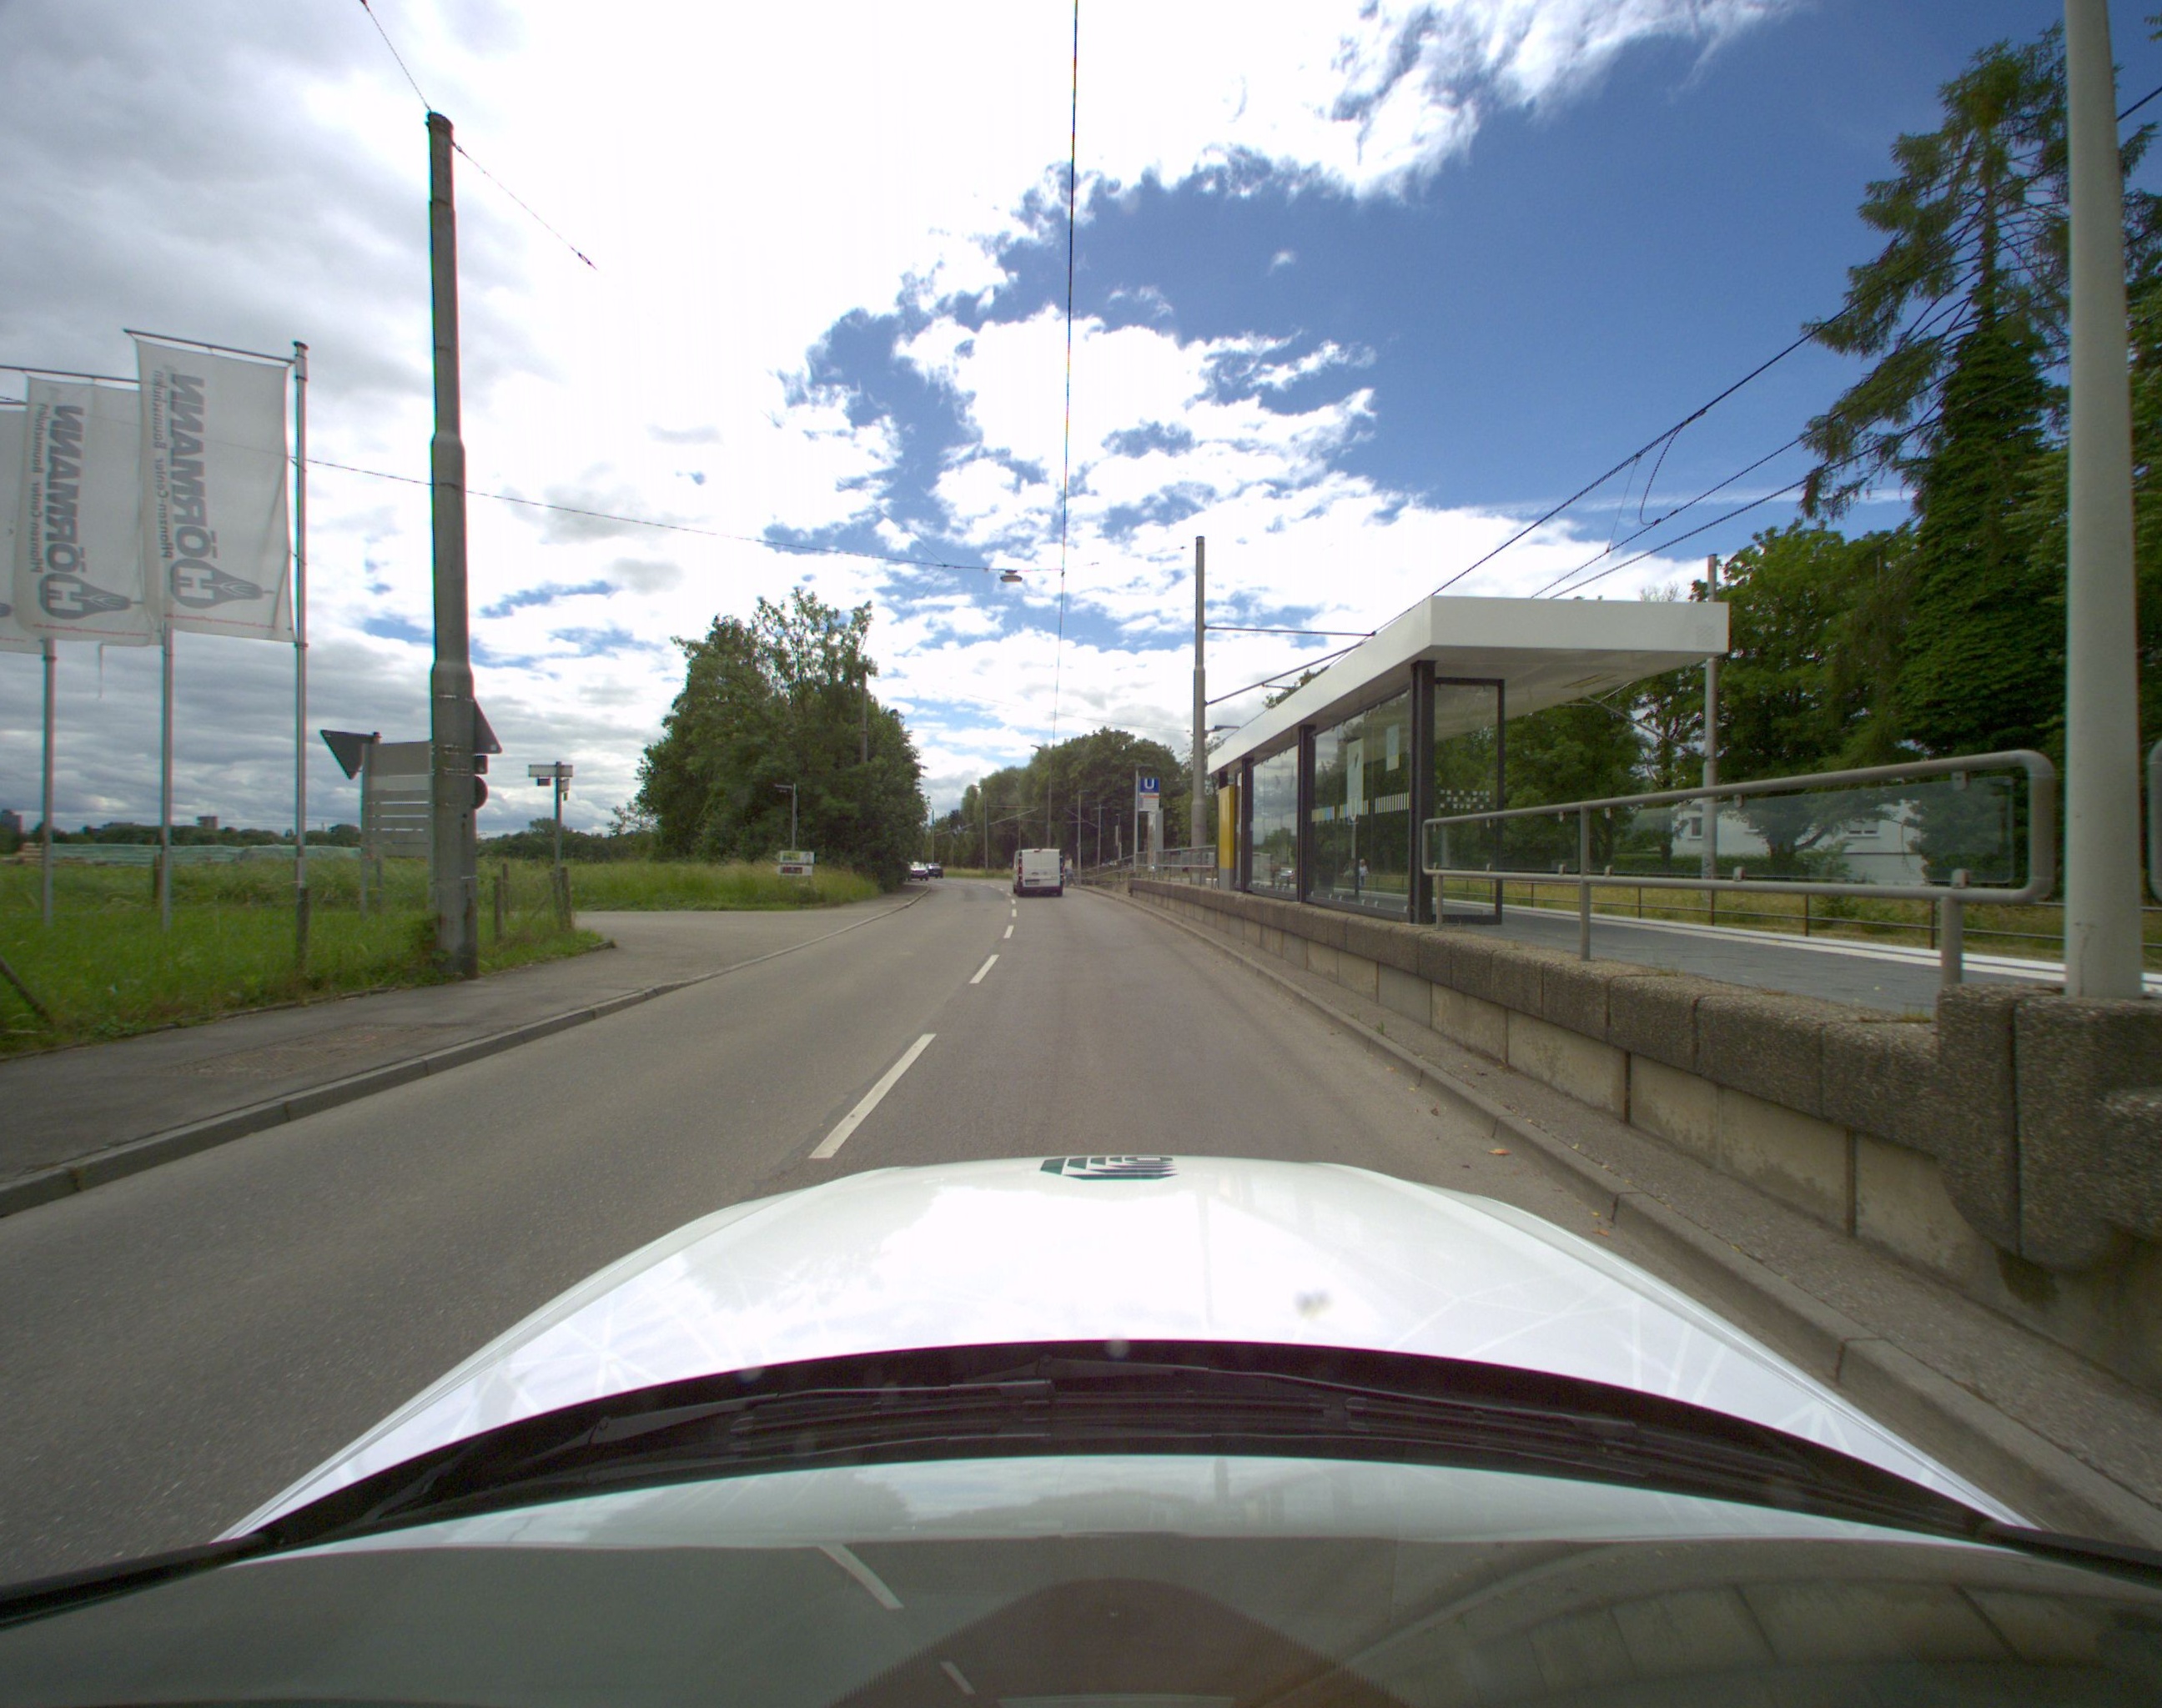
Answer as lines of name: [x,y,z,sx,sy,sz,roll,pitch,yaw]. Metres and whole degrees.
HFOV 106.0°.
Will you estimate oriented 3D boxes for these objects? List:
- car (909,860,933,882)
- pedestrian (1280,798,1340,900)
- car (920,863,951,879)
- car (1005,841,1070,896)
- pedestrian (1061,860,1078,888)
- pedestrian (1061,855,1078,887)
car: [-15.408,1.577,78.138,1.997,2.014,4.301,0,-1,-15]
pedestrian: [3.241,-0.076,11.583,0.636,1.404,0.764,0,0,-1]
car: [-16.014,1.870,89.378,2.365,1.564,4.339,2,-1,-23]
car: [-1.946,0.599,34.819,2.117,2.134,5.422,1,-1,-10]
pedestrian: [-0.620,1.080,44.413,0.762,1.492,0.625,0,-1,-27]
pedestrian: [-0.643,0.949,45.878,0.762,1.795,0.625,0,-1,-27]
